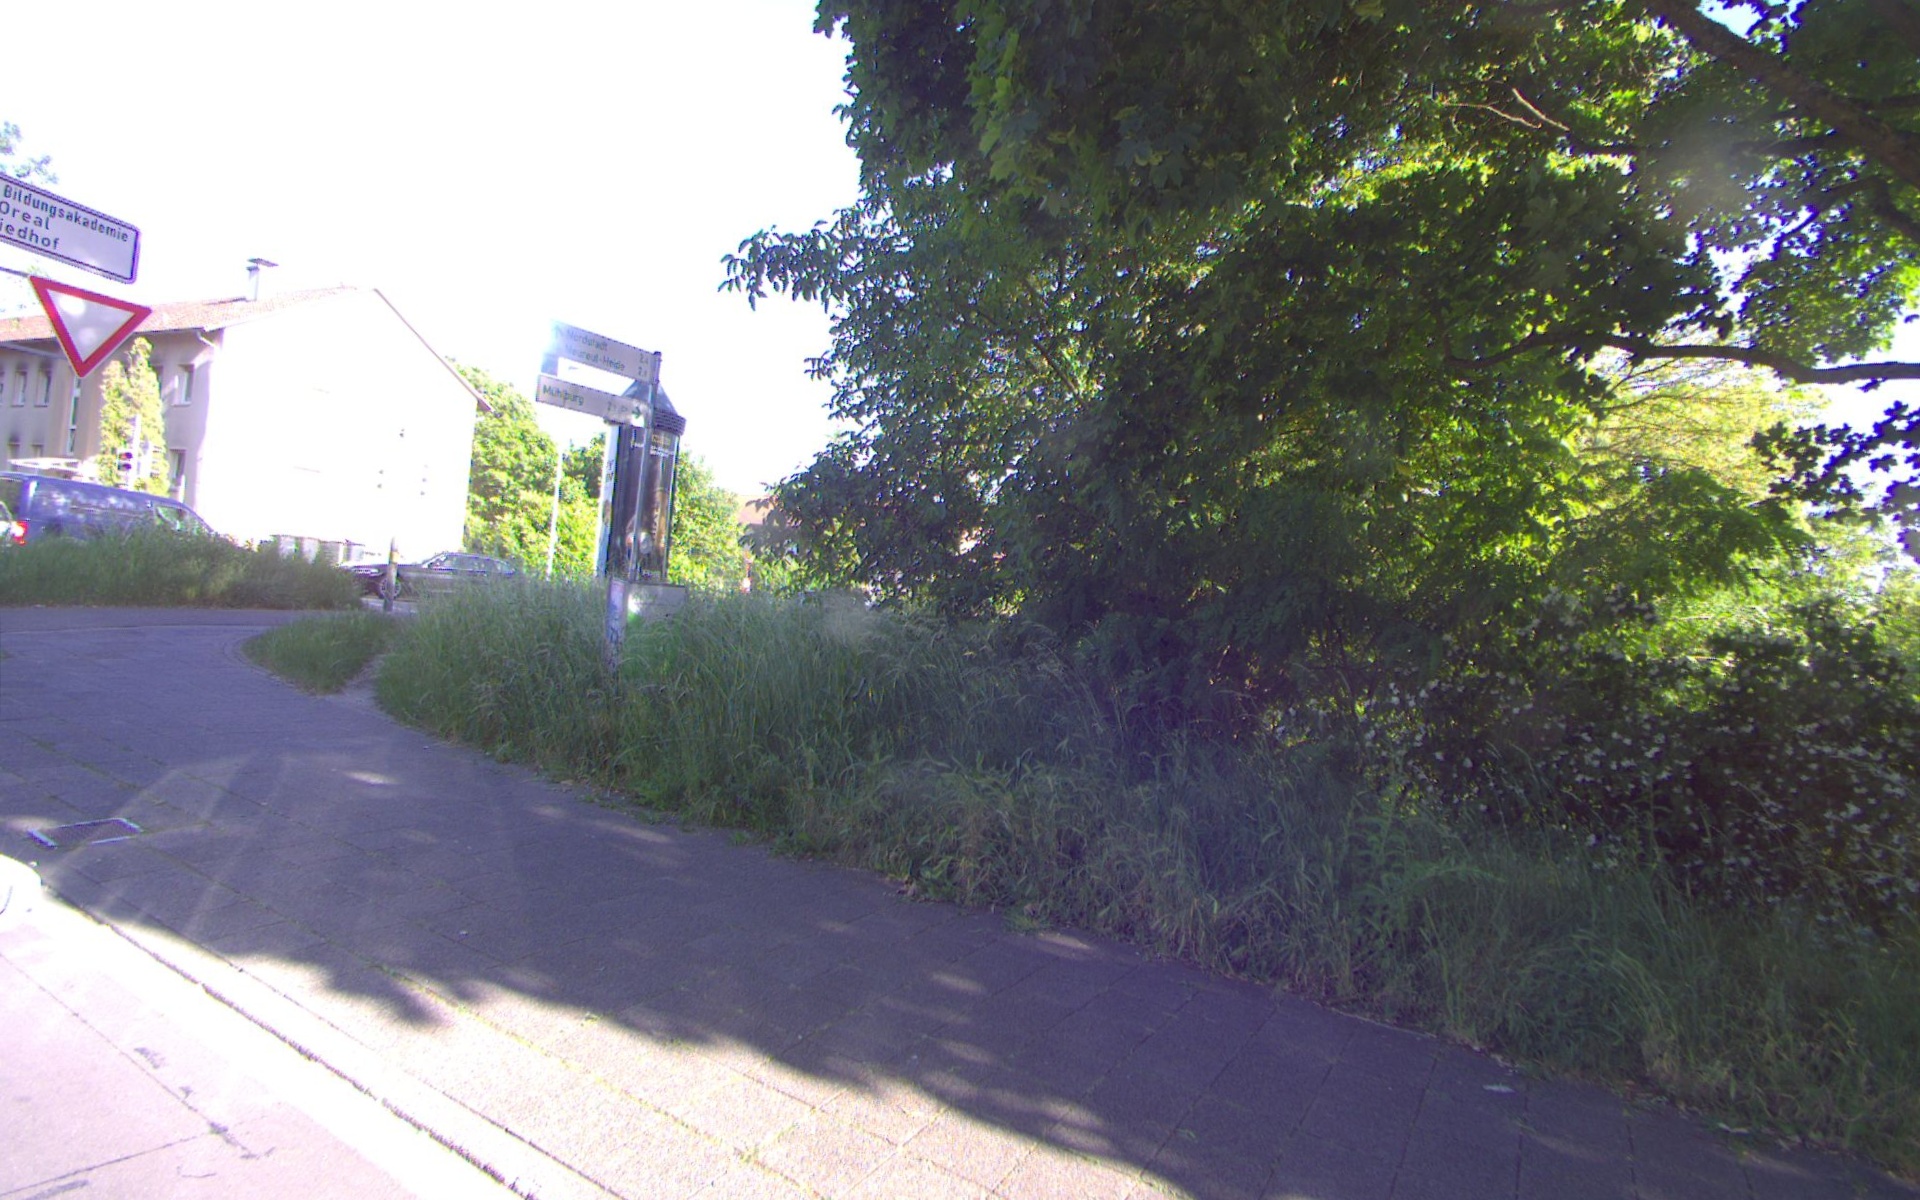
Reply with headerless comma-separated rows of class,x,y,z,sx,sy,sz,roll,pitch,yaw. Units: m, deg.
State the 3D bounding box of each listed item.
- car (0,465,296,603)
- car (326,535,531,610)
car,-15.053,-1.142,18.440,1.827,1.910,4.354,7,0,27
car,-14.388,-0.695,27.591,1.963,1.447,4.743,7,-1,21
